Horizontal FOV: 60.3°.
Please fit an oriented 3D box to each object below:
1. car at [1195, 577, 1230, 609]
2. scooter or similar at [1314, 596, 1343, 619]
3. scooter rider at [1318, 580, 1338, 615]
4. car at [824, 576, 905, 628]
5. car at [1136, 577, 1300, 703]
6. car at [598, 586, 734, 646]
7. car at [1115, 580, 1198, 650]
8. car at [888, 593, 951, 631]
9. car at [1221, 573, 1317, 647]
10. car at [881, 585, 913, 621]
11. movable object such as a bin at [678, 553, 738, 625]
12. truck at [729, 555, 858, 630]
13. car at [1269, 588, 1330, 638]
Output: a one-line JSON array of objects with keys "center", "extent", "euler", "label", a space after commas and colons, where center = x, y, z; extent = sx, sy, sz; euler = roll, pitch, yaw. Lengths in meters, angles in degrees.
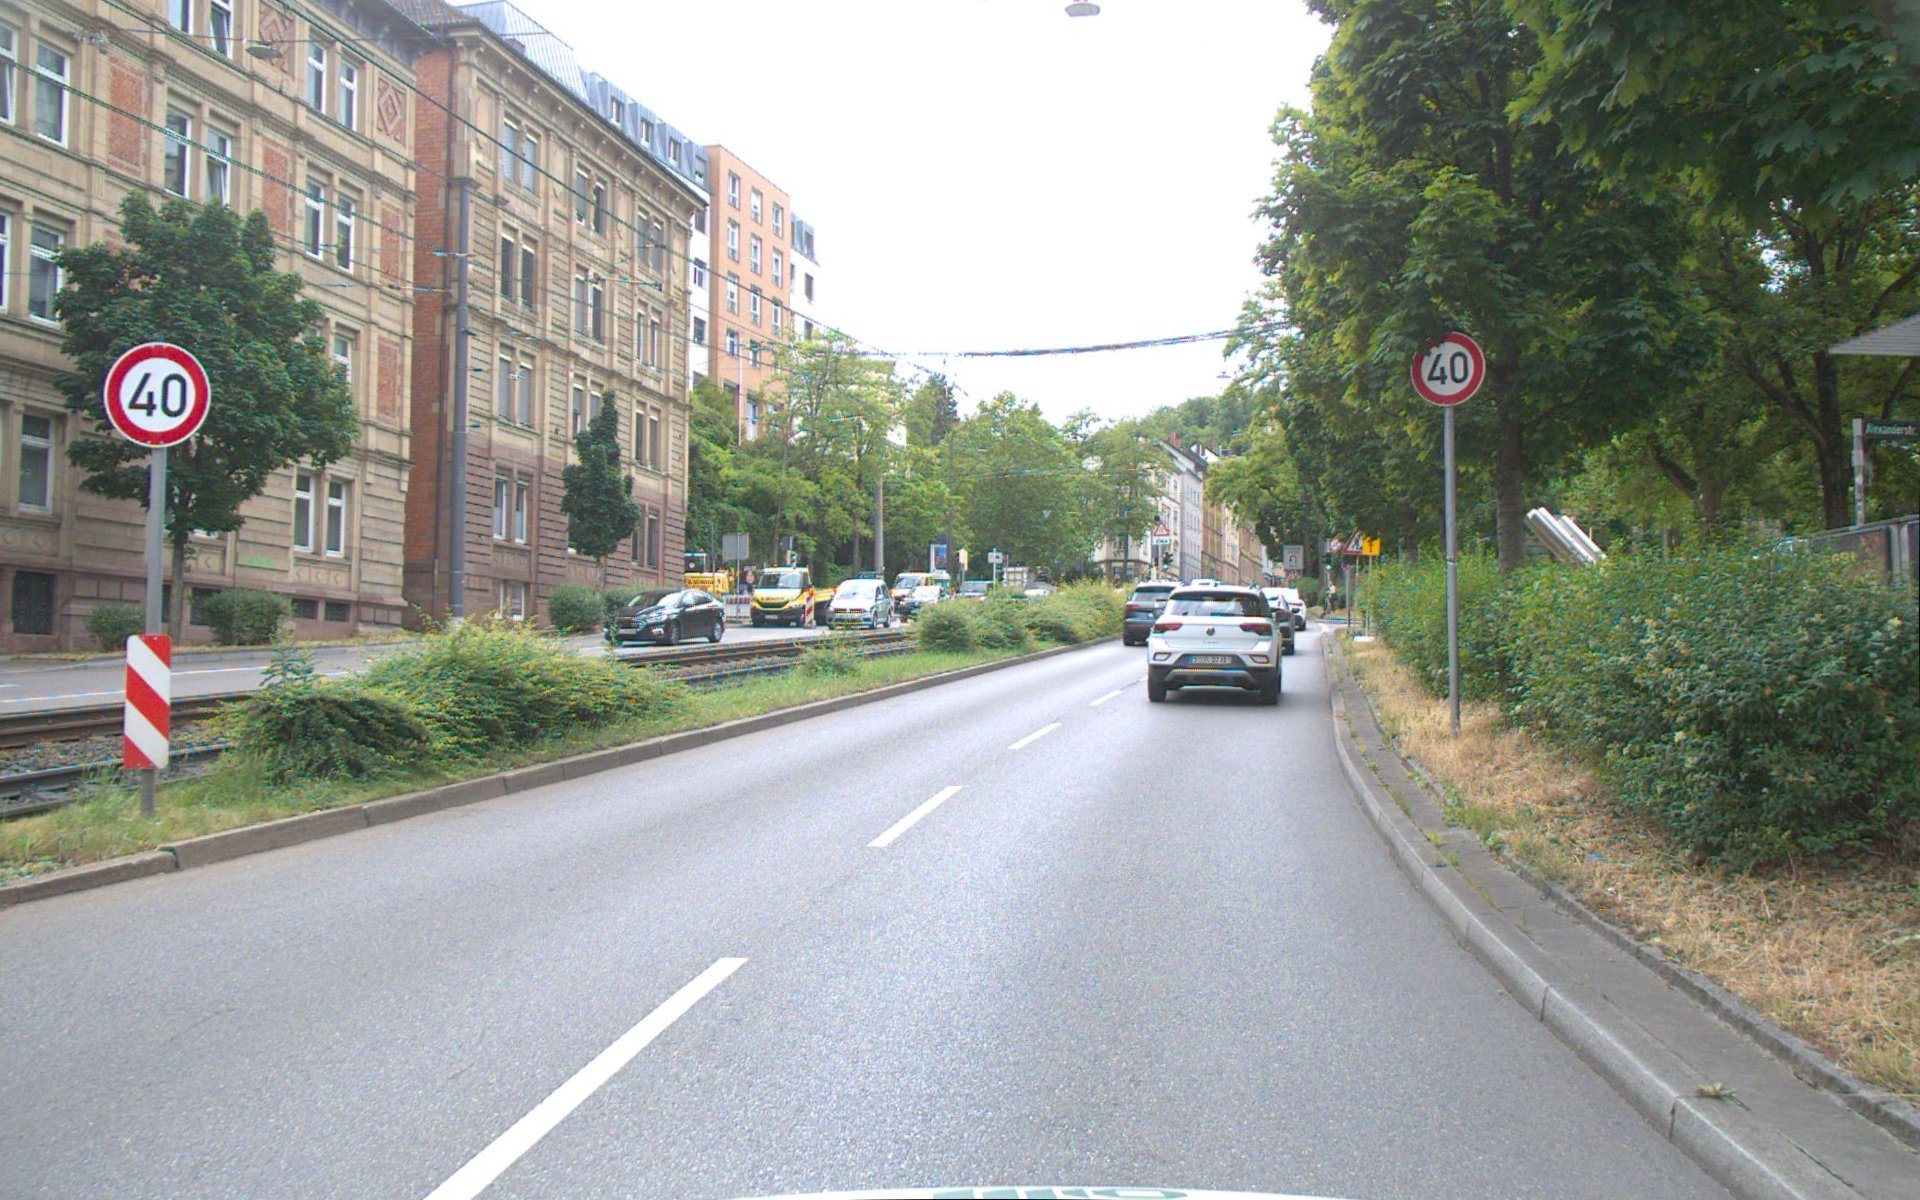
[{"center": [18.742, -0.492, 122.478], "extent": [2.370, 2.207, 6.038], "euler": [1, 0, 10], "label": "car"}, {"center": [16.984, 0.338, 76.191], "extent": [1.165, 1.011, 0.530], "euler": [-1, 0, -10], "label": "scooter or similar"}, {"center": [16.953, -0.101, 76.190], "extent": [0.763, 1.585, 0.531], "euler": [-1, 0, -10], "label": "scooter rider"}, {"center": [-3.497, 0.059, 61.418], "extent": [1.839, 1.819, 4.521], "euler": [-2, 0, 11], "label": "car"}, {"center": [3.748, 0.533, 23.492], "extent": [1.897, 1.594, 4.049], "euler": [1, 0, 14], "label": "car"}, {"center": [-7.756, 0.410, 44.120], "extent": [1.780, 1.476, 4.950], "euler": [1, 0, 13], "label": "car"}, {"center": [5.352, 0.389, 44.673], "extent": [1.800, 1.770, 4.003], "euler": [1, 0, 13], "label": "car"}, {"center": [-1.781, 0.558, 74.694], "extent": [1.825, 1.582, 4.441], "euler": [2, -1, 12], "label": "car"}, {"center": [7.463, 0.284, 40.250], "extent": [1.863, 1.601, 3.836], "euler": [3, -2, 5], "label": "car"}, {"center": [-2.987, 0.143, 78.345], "extent": [1.163, 1.615, 3.091], "euler": [1, 0, 4], "label": "car"}, {"center": [-10.311, -0.450, 67.782], "extent": [1.951, 2.888, 2.031], "euler": [0, -1, 7], "label": "movable object such as a bin"}, {"center": [-6.469, -0.221, 65.453], "extent": [2.855, 2.554, 7.158], "euler": [2, -2, 13], "label": "truck"}, {"center": [11.943, 0.443, 58.352], "extent": [1.951, 1.651, 4.003], "euler": [1, 0, 10], "label": "car"}]
